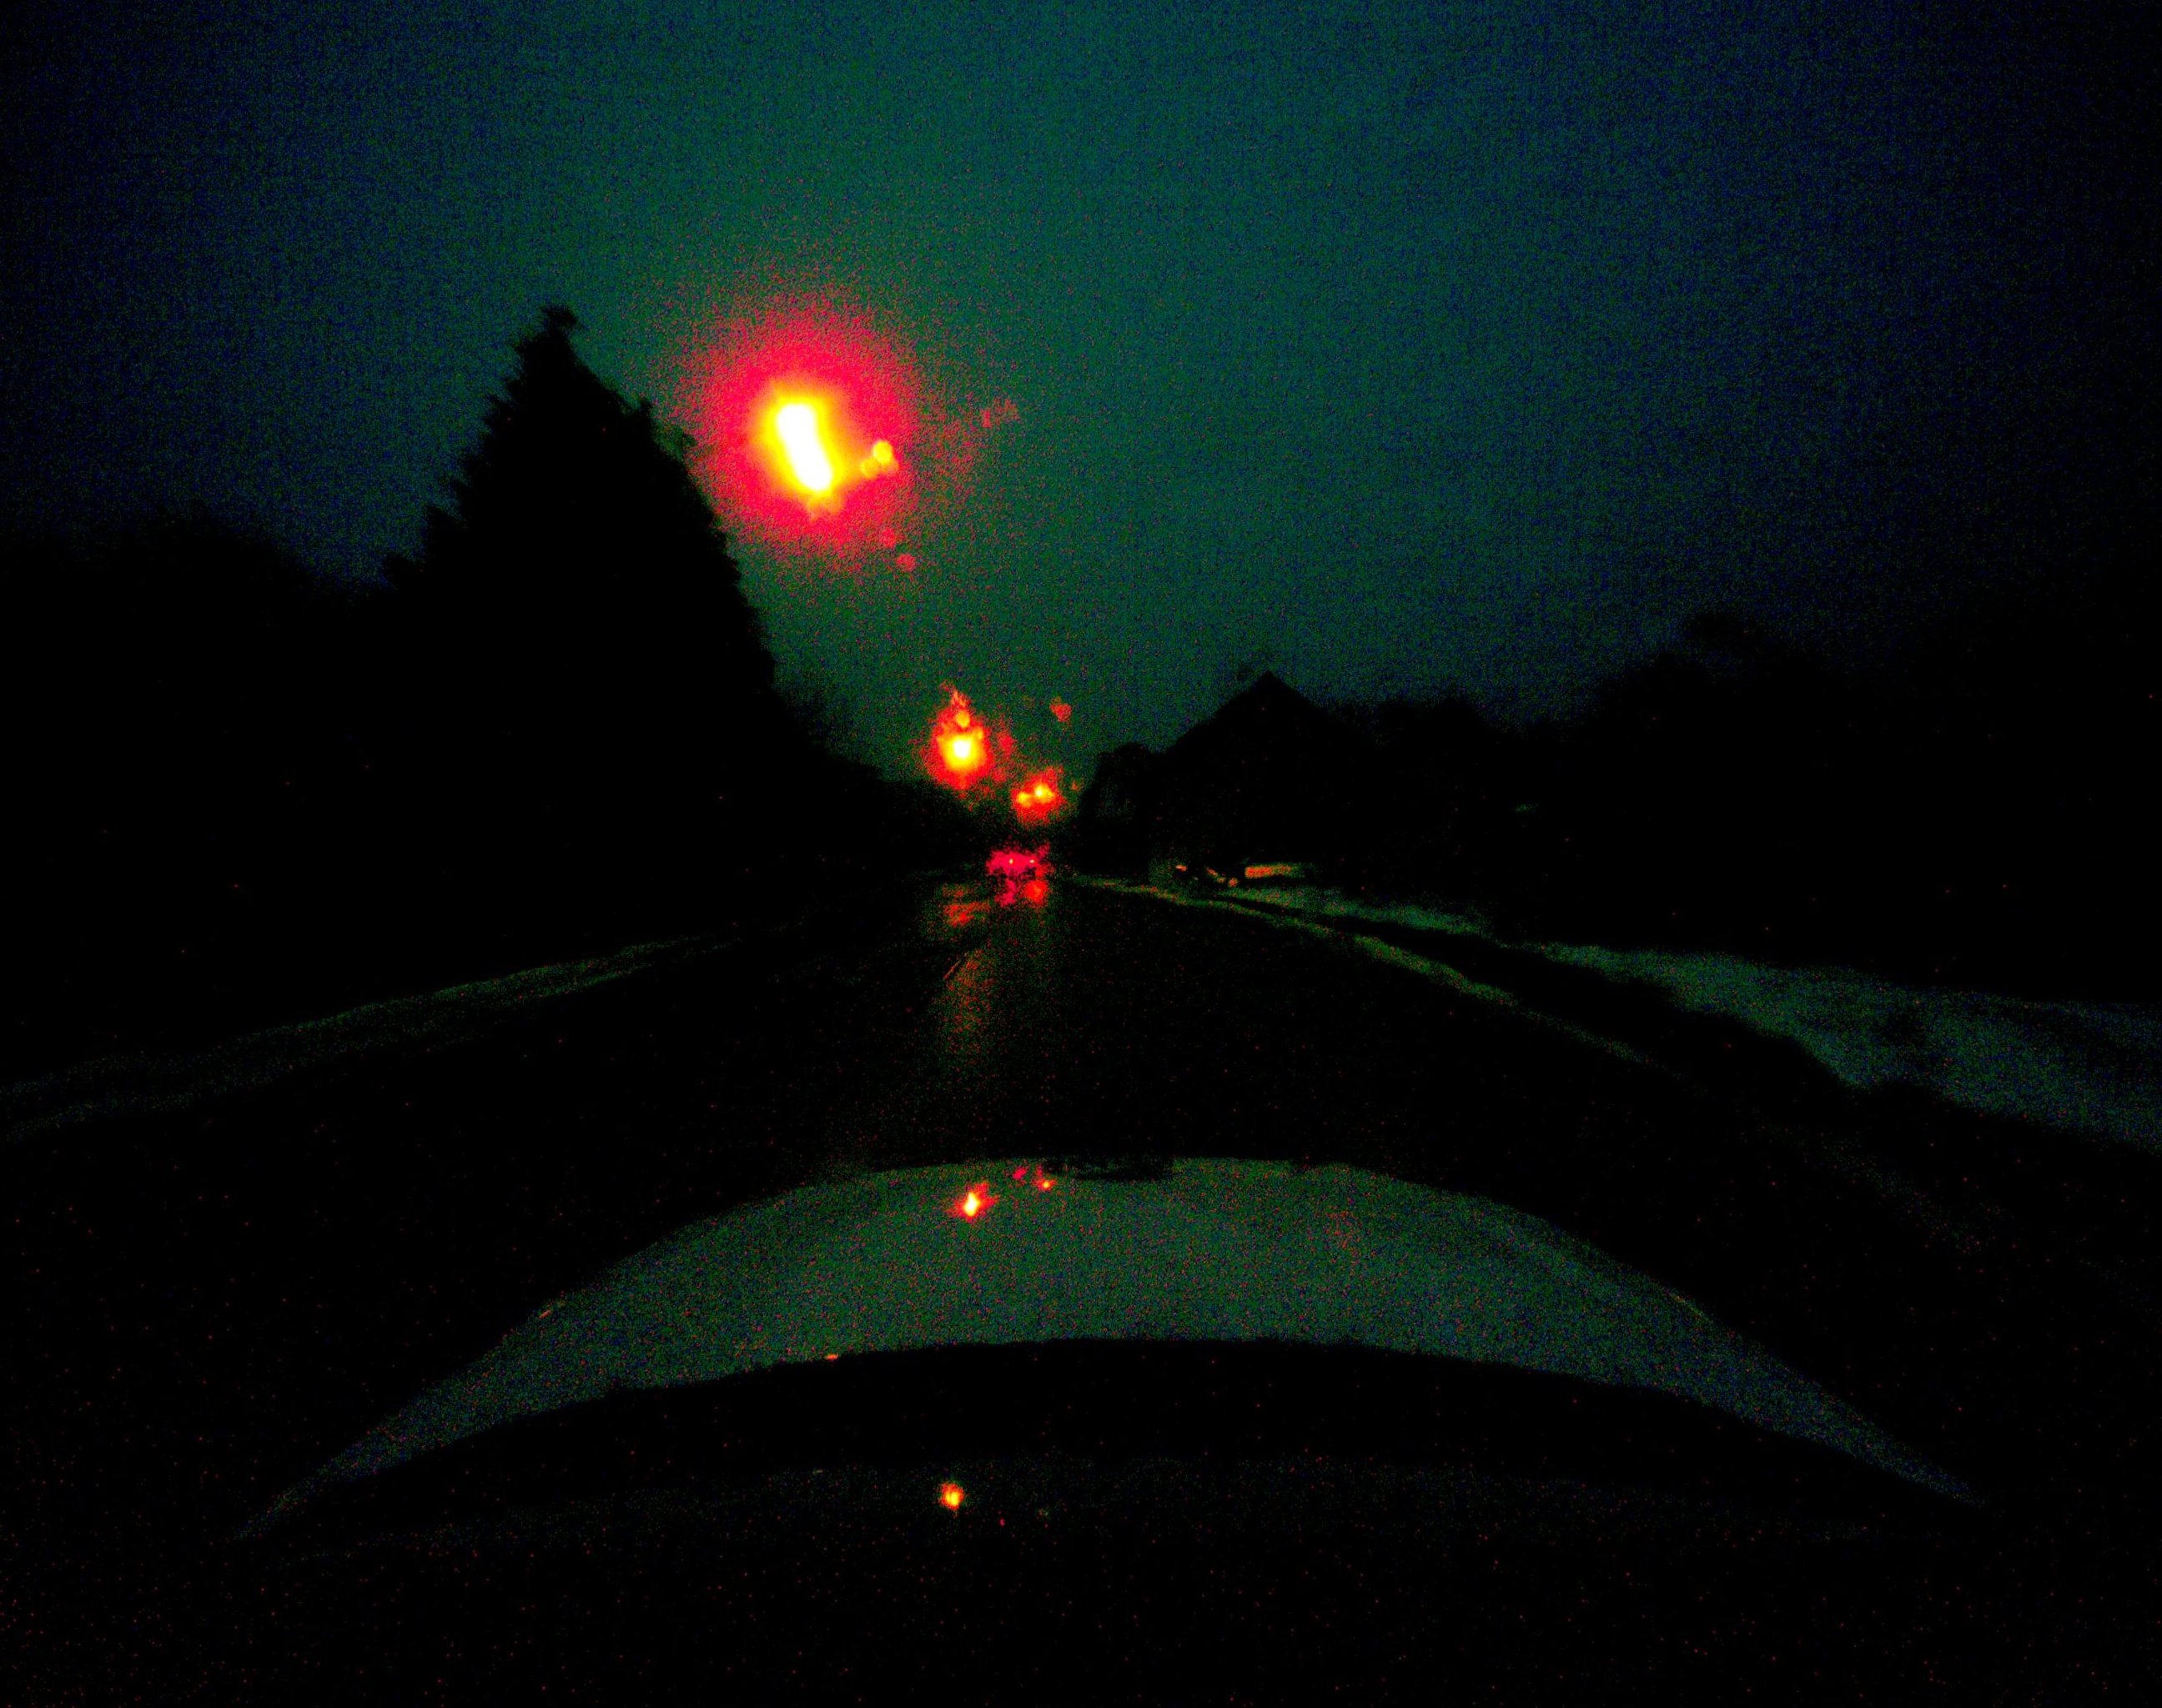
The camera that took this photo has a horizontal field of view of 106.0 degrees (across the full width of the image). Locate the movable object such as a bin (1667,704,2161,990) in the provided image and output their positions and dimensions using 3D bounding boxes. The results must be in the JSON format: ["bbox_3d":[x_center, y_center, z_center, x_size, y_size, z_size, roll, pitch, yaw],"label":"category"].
[{"bbox_3d":[9.353,-0.022,9.274,2.375,2.469,4.522,0,-1,5],"label":"movable object such as a bin"}]

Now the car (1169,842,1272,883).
[{"bbox_3d":[5.919,0.397,34.971,4.140,1.559,1.947,-2,-3,3],"label":"car"}]

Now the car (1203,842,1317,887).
[{"bbox_3d":[6.959,0.430,32.045,4.218,1.559,2.004,-2,-3,8],"label":"car"}]

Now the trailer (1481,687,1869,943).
[{"bbox_3d":[9.533,-0.508,13.898,2.866,3.561,5.059,0,-1,-1],"label":"trailer"}]

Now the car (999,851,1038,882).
[{"bbox_3d":[-3.967,0.815,50.915,1.994,1.737,3.863,-1,-3,-11],"label":"car"}]
